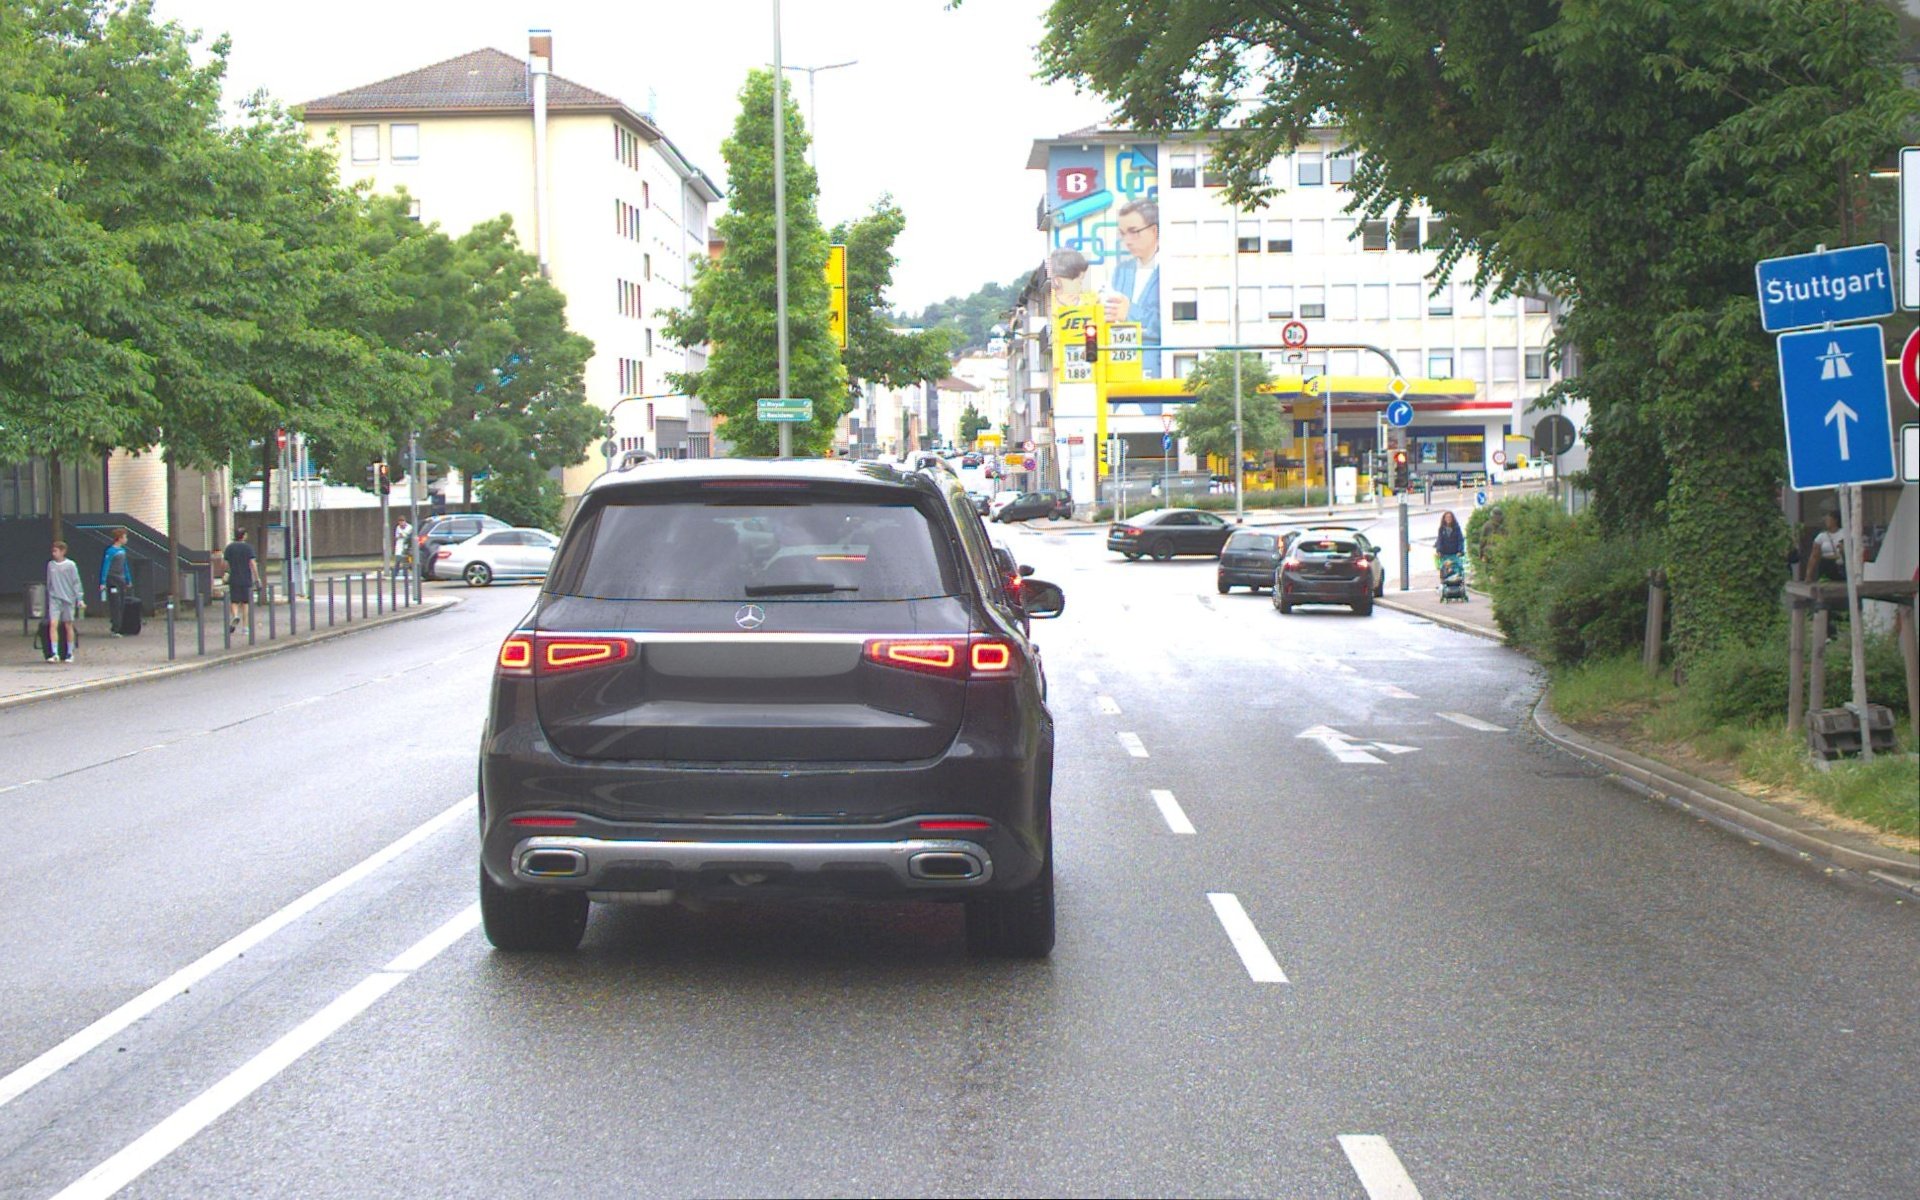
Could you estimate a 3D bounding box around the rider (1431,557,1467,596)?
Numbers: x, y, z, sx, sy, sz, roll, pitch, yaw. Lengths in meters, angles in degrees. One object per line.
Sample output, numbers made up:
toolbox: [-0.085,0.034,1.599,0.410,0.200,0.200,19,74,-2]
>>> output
rider: [9.592,-0.462,67.476,0.631,0.737,0.695,1,0,13]

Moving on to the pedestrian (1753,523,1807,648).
pedestrian: [10.075,-0.179,42.247,0.551,1.527,0.488,1,0,7]

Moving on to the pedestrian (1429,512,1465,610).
pedestrian: [9.665,-0.771,68.203,0.662,1.911,0.728,1,0,8]

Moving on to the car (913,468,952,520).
car: [-1.440,-5.541,178.730,1.993,2.005,4.004,1,12,-1]

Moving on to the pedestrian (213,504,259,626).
pedestrian: [-12.061,-0.578,57.286,0.587,2.007,0.749,1,0,-1]

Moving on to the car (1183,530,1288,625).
car: [6.068,-0.492,76.096,1.993,2.007,4.000,1,0,1]

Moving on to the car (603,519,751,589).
car: [-8.098,-1.312,98.216,3.986,1.936,2.001,-1,1,-11]

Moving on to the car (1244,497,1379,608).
car: [6.525,-0.911,64.123,1.993,2.007,4.001,0,1,-1]

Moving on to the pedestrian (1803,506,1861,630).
pedestrian: [10.676,-0.389,42.098,0.582,1.496,0.504,1,0,6]

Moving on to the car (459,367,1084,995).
car: [-0.646,0.249,13.206,1.993,2.007,4.000,1,0,-1]

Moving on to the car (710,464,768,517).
car: [-8.474,-4.171,132.030,1.993,1.868,5.142,1,0,-1]

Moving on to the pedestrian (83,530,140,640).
pedestrian: [-13.484,-0.237,54.620,0.688,1.719,0.754,1,-1,-1]

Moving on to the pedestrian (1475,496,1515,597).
pedestrian: [10.305,-1.034,66.238,0.620,1.929,0.610,1,0,-1]

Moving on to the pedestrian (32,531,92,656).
pedestrian: [-12.294,-0.097,47.067,0.676,1.691,0.479,1,1,0]

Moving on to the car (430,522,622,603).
car: [-11.113,-0.966,88.132,4.803,2.006,2.001,0,2,-7]

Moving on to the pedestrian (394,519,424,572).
pedestrian: [-15.245,-1.511,95.053,0.711,1.457,0.598,1,0,-1]

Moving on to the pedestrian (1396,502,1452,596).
pedestrian: [10.134,-1.110,75.064,1.025,2.007,0.999,1,1,-1]
